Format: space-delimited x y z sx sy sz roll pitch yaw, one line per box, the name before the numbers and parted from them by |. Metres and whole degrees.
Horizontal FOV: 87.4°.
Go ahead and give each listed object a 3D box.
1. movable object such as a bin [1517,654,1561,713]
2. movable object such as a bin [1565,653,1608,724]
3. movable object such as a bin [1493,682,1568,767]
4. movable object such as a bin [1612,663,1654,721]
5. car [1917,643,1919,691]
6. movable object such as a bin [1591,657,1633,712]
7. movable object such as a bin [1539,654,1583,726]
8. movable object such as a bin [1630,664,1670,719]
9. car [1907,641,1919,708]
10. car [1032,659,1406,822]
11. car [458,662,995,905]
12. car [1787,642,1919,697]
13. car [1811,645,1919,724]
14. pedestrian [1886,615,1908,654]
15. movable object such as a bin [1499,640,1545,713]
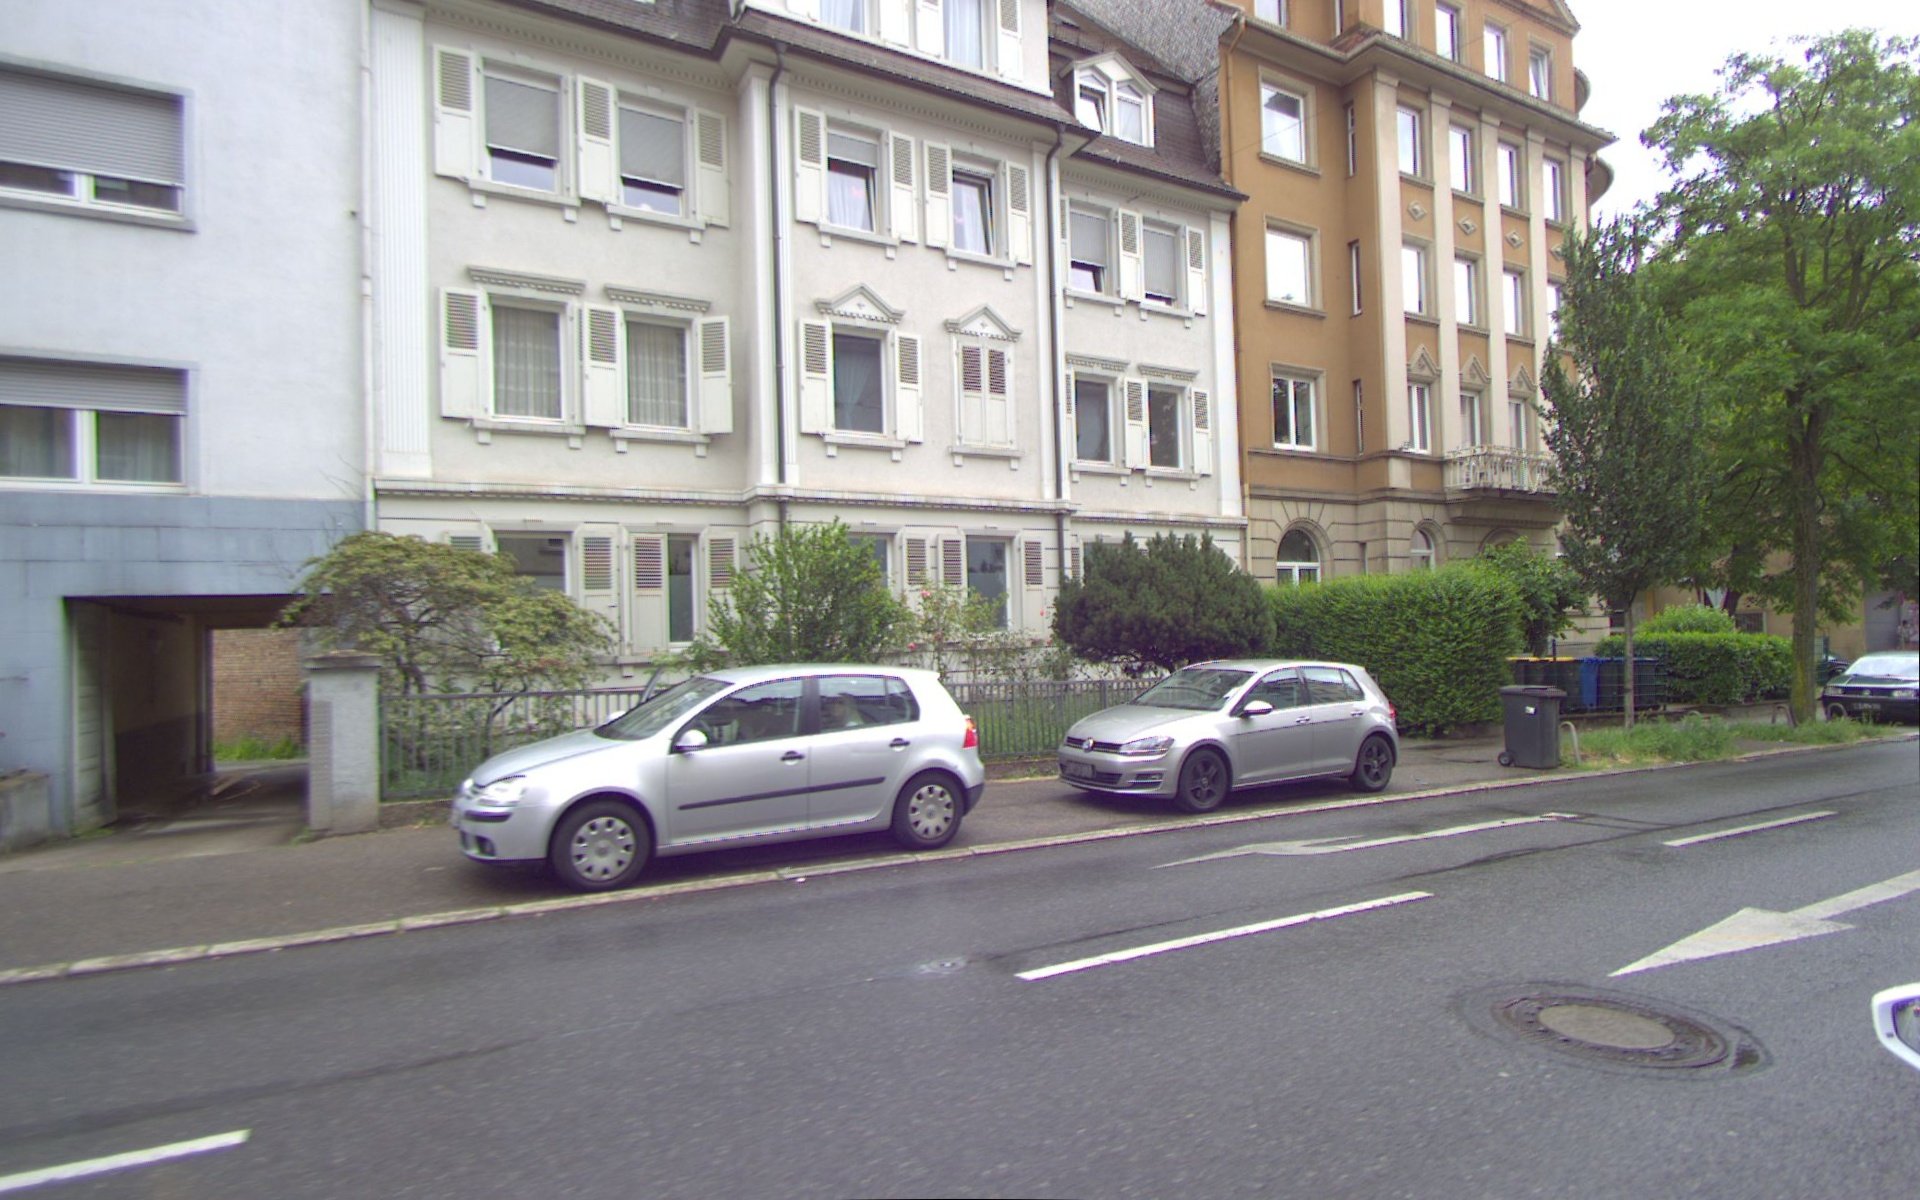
movable object such as a bin | 10.743 1.541 18.637 0.642 1.053 0.437 1 -3 -31
movable object such as a bin | 12.117 1.702 19.432 0.602 1.326 0.437 1 -3 -31
movable object such as a bin | 7.553 1.631 13.308 0.593 1.072 0.627 2 -4 -30
movable object such as a bin | 13.558 1.843 20.245 0.650 1.145 0.437 1 -3 -31
car | 30.045 1.960 28.549 1.723 1.408 3.797 2 -2 -31
movable object such as a bin | 12.966 1.665 19.976 0.643 1.054 0.424 1 -3 -31
movable object such as a bin | 11.381 1.689 19.021 0.642 1.326 0.437 1 -3 -31
movable object such as a bin | 14.181 1.868 20.645 0.583 1.095 0.437 1 -3 -31
car | 23.269 1.671 22.925 3.800 1.473 1.622 1 -3 -34
car | 2.853 1.383 10.884 3.889 1.408 1.675 1 -2 -30
car | -1.791 1.249 7.994 3.863 1.408 1.675 1 -2 -30
car | 25.952 1.929 28.230 1.720 1.408 3.802 -1 -2 -27
car | 19.344 1.670 20.702 3.899 1.473 1.645 1 -3 -32
pedestrian | 44.531 1.633 47.755 0.627 1.840 0.633 -2 -2 35
movable object such as a bin | 10.299 1.393 18.410 0.642 1.316 0.437 1 -3 -31
